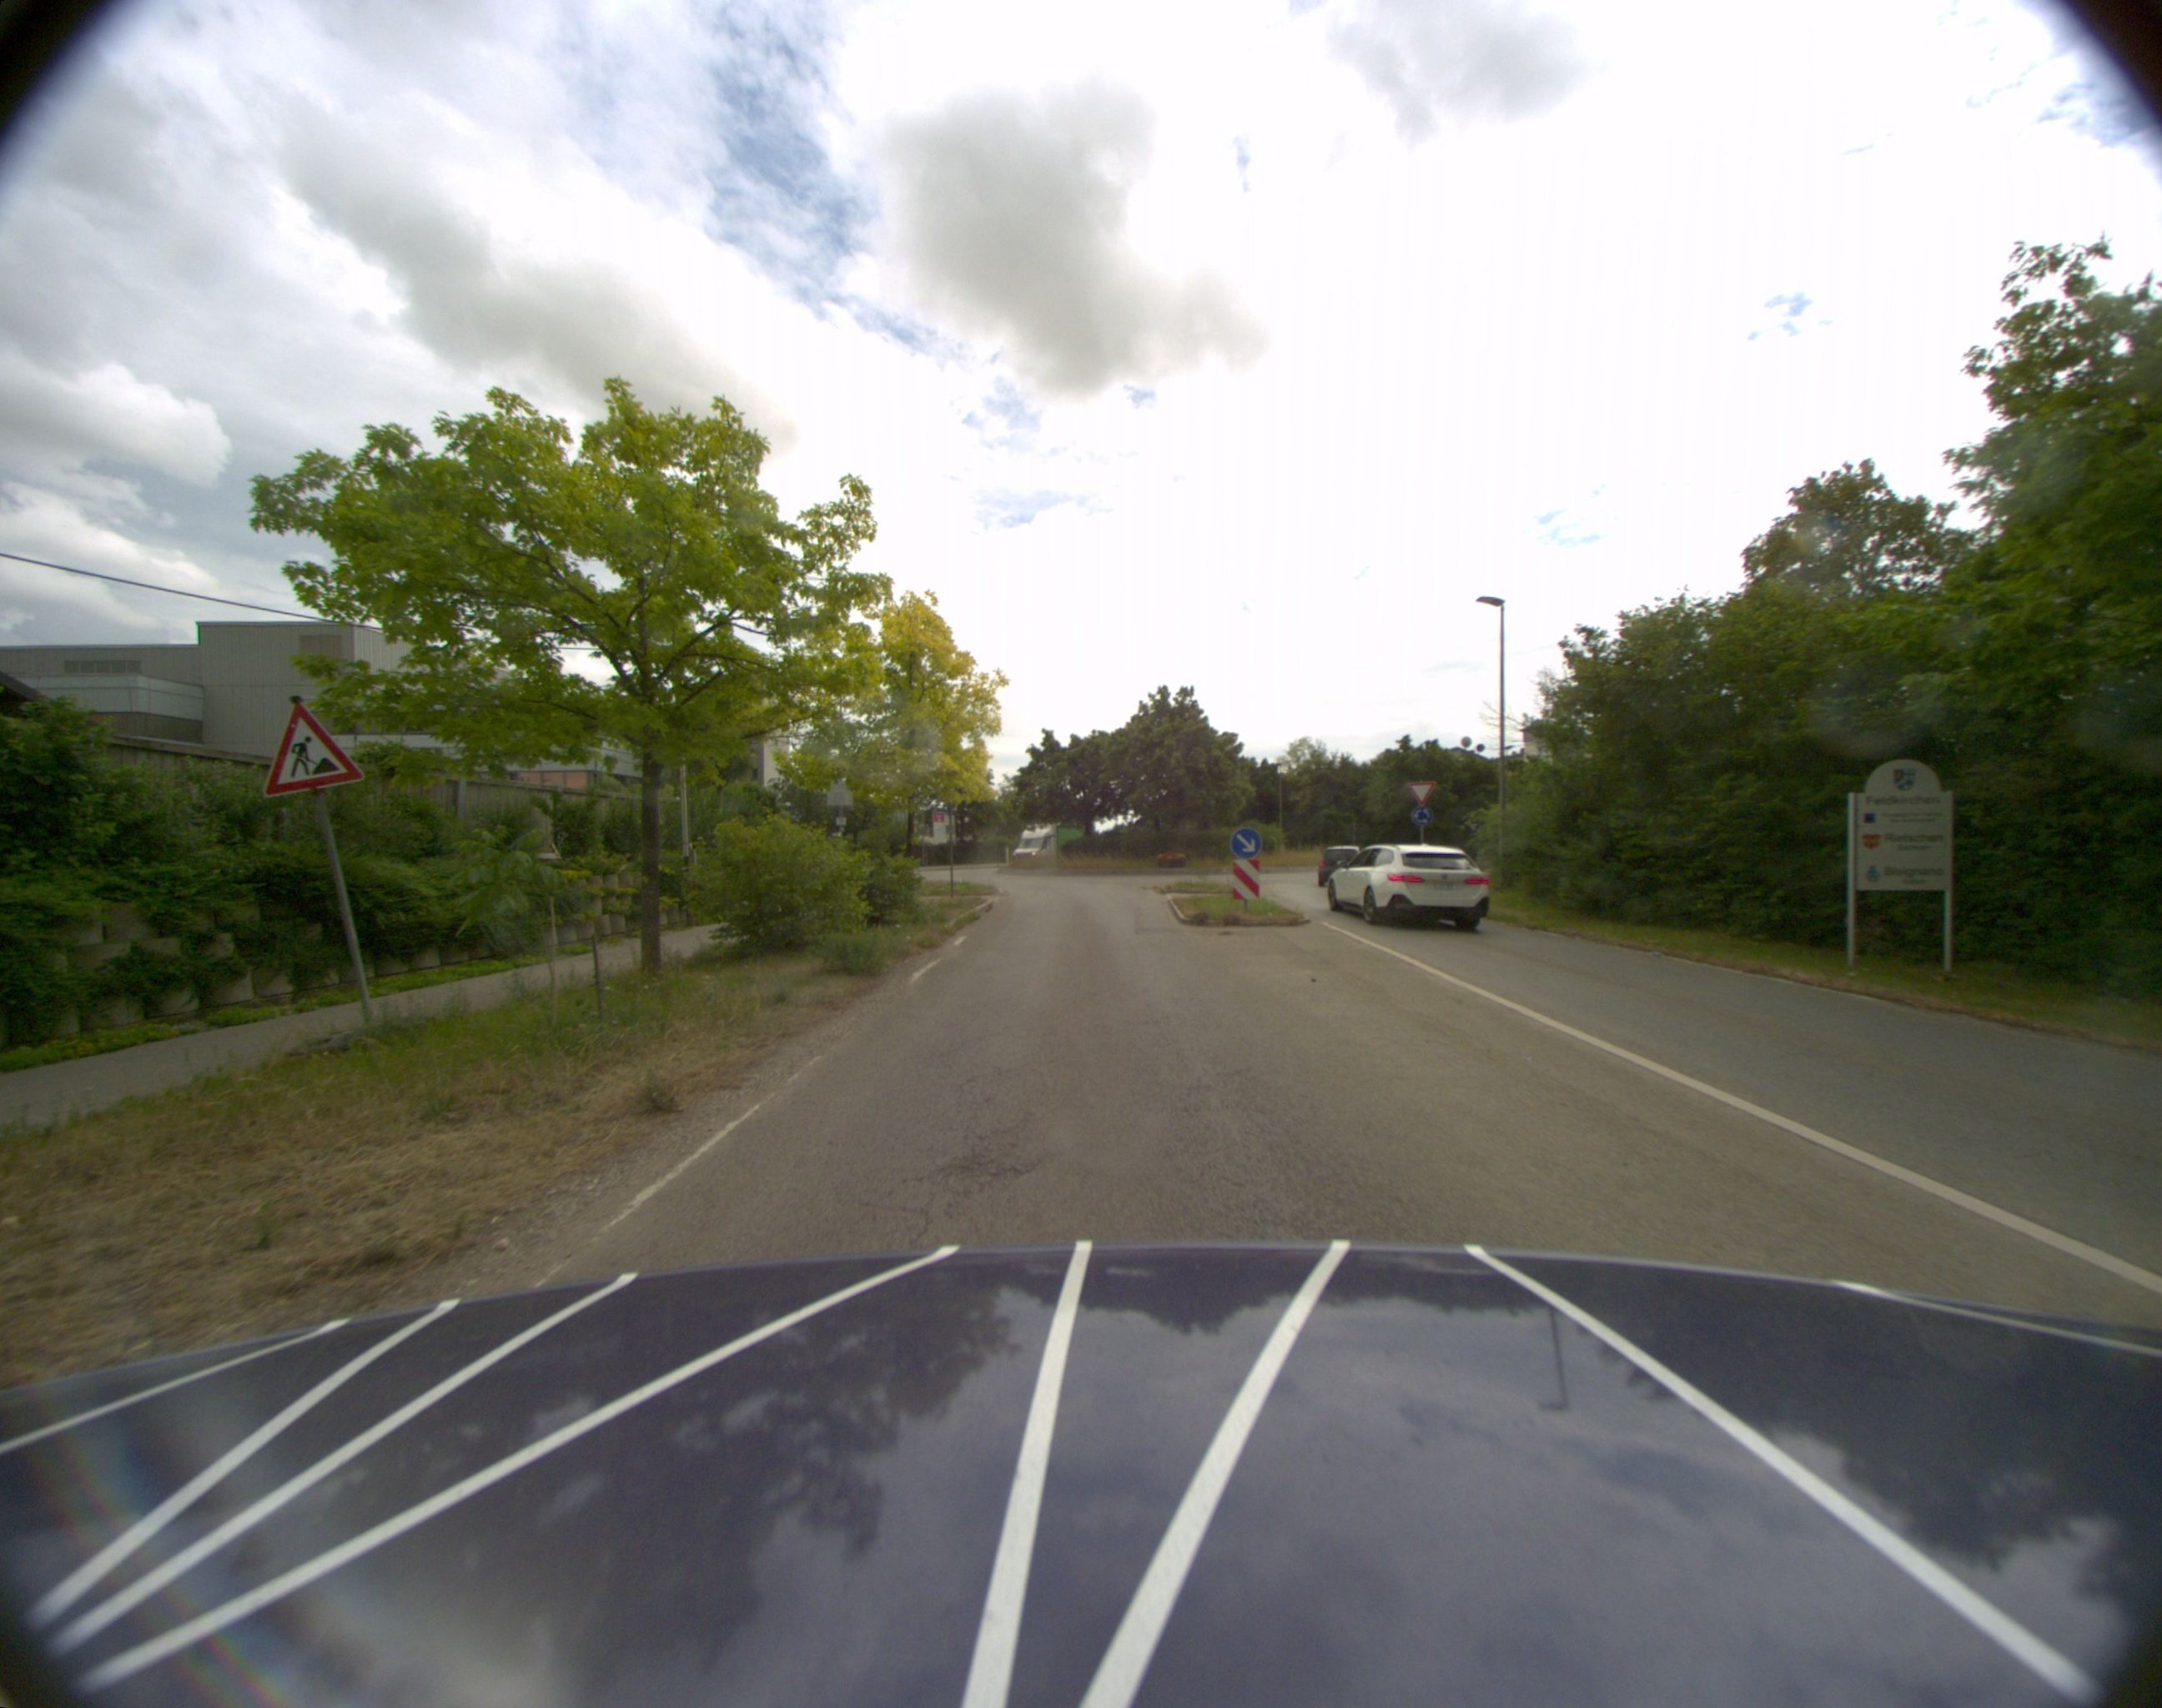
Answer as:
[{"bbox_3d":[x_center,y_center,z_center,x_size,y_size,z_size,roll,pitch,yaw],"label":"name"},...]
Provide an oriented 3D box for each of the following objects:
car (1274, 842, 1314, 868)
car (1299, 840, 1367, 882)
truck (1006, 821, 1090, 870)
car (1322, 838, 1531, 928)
[{"bbox_3d":[12.416,0.024,44.096,1.683,1.415,4.006,0,1,24],"label":"car"},{"bbox_3d":[9.312,0.230,28.400,1.685,1.446,4.002,1,1,8],"label":"car"},{"bbox_3d":[-2.349,-0.713,57.813,2.609,3.428,7.519,-1,1,31],"label":"truck"},{"bbox_3d":[6.503,0.455,15.063,2.218,1.446,4.944,1,0,5],"label":"car"}]
